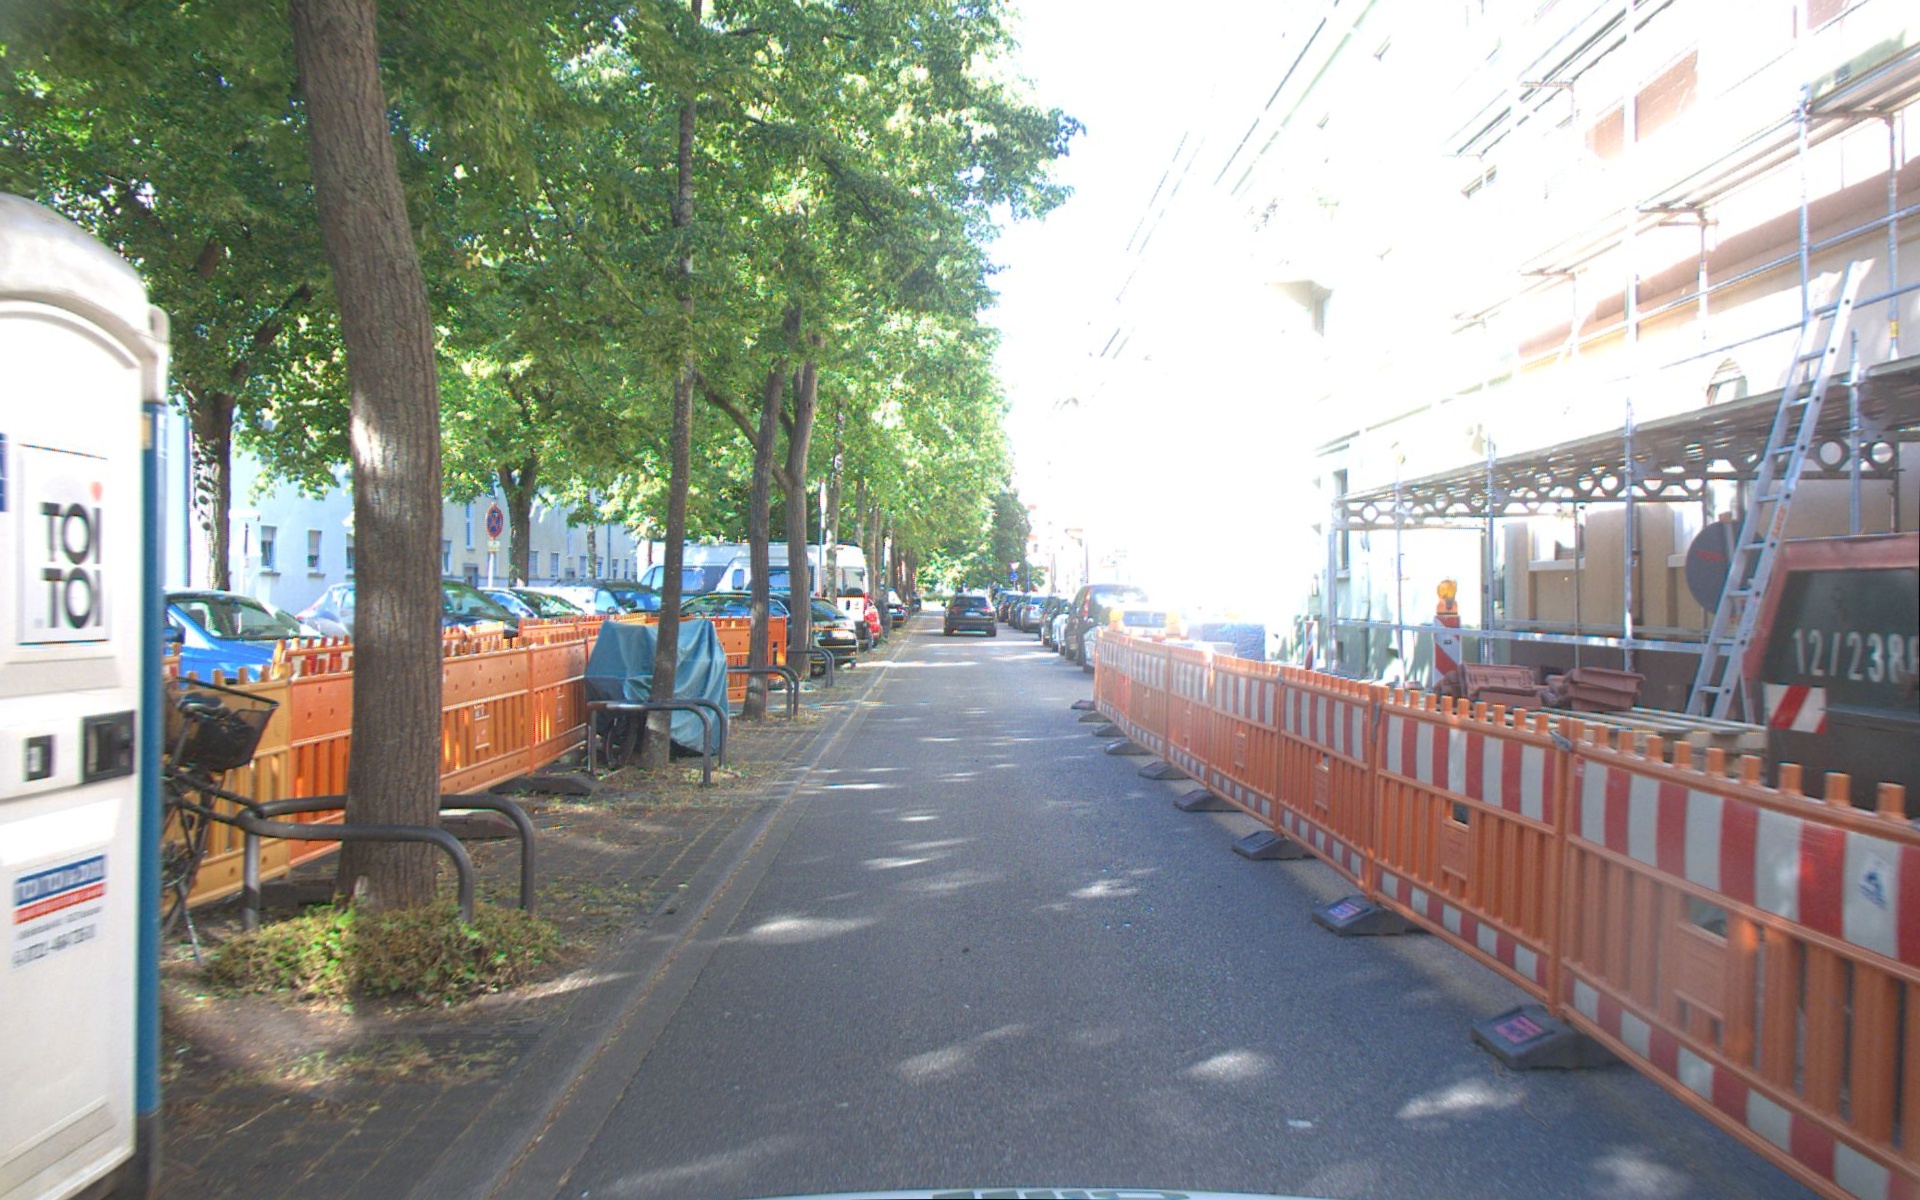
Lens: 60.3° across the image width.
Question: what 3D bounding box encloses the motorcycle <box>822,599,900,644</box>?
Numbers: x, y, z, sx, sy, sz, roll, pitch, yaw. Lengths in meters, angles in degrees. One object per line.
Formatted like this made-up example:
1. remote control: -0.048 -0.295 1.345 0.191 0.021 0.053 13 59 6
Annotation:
1. motorcycle: -2.872 0.609 48.071 2.101 1.251 0.882 1 0 8

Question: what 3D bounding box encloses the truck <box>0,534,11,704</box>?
1. truck: -14.858 0.286 22.013 1.882 2.451 4.265 -1 0 2

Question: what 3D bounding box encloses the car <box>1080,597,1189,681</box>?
1. car: 3.383 0.716 32.698 1.670 1.538 4.283 0 0 0

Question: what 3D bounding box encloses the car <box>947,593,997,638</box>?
1. car: 0.440 0.516 58.205 1.679 1.509 4.145 -1 0 1

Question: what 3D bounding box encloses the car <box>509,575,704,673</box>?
1. car: -7.540 0.475 35.098 4.308 1.948 1.987 0 0 43

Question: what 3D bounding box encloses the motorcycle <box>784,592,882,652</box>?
1. motorcycle: -3.098 0.535 40.243 2.277 1.358 0.967 2 0 -10

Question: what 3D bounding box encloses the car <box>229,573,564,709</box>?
1. car: -7.383 0.507 21.661 4.036 1.654 1.698 -1 0 22

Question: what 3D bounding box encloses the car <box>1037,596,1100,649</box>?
1. car: 3.220 0.639 49.625 1.566 1.518 3.966 0 0 -1

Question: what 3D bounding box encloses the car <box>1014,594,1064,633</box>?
1. car: 3.058 0.517 64.872 1.733 1.456 4.290 0 0 0

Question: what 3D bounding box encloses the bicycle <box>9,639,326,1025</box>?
1. bicycle: -2.774 0.742 5.946 0.274 1.176 1.552 1 -1 4

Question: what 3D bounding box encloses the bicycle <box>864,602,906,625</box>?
1. bicycle: -3.311 0.603 72.892 1.772 1.011 0.426 0 0 15

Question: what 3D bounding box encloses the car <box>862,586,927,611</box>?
1. car: -4.281 -0.113 107.851 4.017 1.492 1.861 2 -1 -13

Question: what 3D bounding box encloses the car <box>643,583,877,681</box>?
1. car: -3.628 0.522 29.851 4.012 1.552 1.698 2 2 31

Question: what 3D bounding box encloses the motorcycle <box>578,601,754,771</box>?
1. motorcycle: -2.515 0.699 14.459 0.617 1.347 2.230 1 0 14

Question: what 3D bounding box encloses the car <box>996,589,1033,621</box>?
1. car: 2.780 0.257 85.045 1.768 1.591 4.321 -1 0 1

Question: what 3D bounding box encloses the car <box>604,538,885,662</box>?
1. car: -4.919 -0.018 37.271 6.193 2.603 2.332 1 -1 32

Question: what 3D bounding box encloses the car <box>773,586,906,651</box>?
1. car: -3.270 0.472 44.354 1.648 1.646 3.824 -1 0 -40

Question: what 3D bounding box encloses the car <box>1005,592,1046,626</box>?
1. car: 2.969 0.388 75.303 1.657 1.493 4.004 1 0 0

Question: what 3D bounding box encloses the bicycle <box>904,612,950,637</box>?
1. bicycle: -1.337 0.990 67.318 1.858 0.935 0.379 1 0 19

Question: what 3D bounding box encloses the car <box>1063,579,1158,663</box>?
1. car: 3.426 0.462 38.249 1.735 1.825 3.988 0 0 -2

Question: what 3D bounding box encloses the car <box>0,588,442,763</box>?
1. car: -6.919 0.646 15.429 3.819 1.486 1.578 0 0 20

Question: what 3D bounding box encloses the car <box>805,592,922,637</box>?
1. car: -3.377 0.504 57.690 3.938 1.500 1.621 -1 0 35

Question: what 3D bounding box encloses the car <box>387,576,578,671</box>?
1. car: -8.134 0.380 28.215 2.884 1.478 1.245 2 0 16

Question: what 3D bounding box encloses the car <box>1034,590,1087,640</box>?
1. car: 3.300 0.463 54.787 1.548 1.578 4.042 1 0 1

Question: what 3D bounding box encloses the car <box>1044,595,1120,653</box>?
1. car: 3.183 0.593 43.909 1.574 1.445 4.567 0 0 -2

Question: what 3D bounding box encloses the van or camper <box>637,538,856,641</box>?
1. van or camper: -6.374 -0.332 49.100 6.166 2.874 2.404 1 0 28
